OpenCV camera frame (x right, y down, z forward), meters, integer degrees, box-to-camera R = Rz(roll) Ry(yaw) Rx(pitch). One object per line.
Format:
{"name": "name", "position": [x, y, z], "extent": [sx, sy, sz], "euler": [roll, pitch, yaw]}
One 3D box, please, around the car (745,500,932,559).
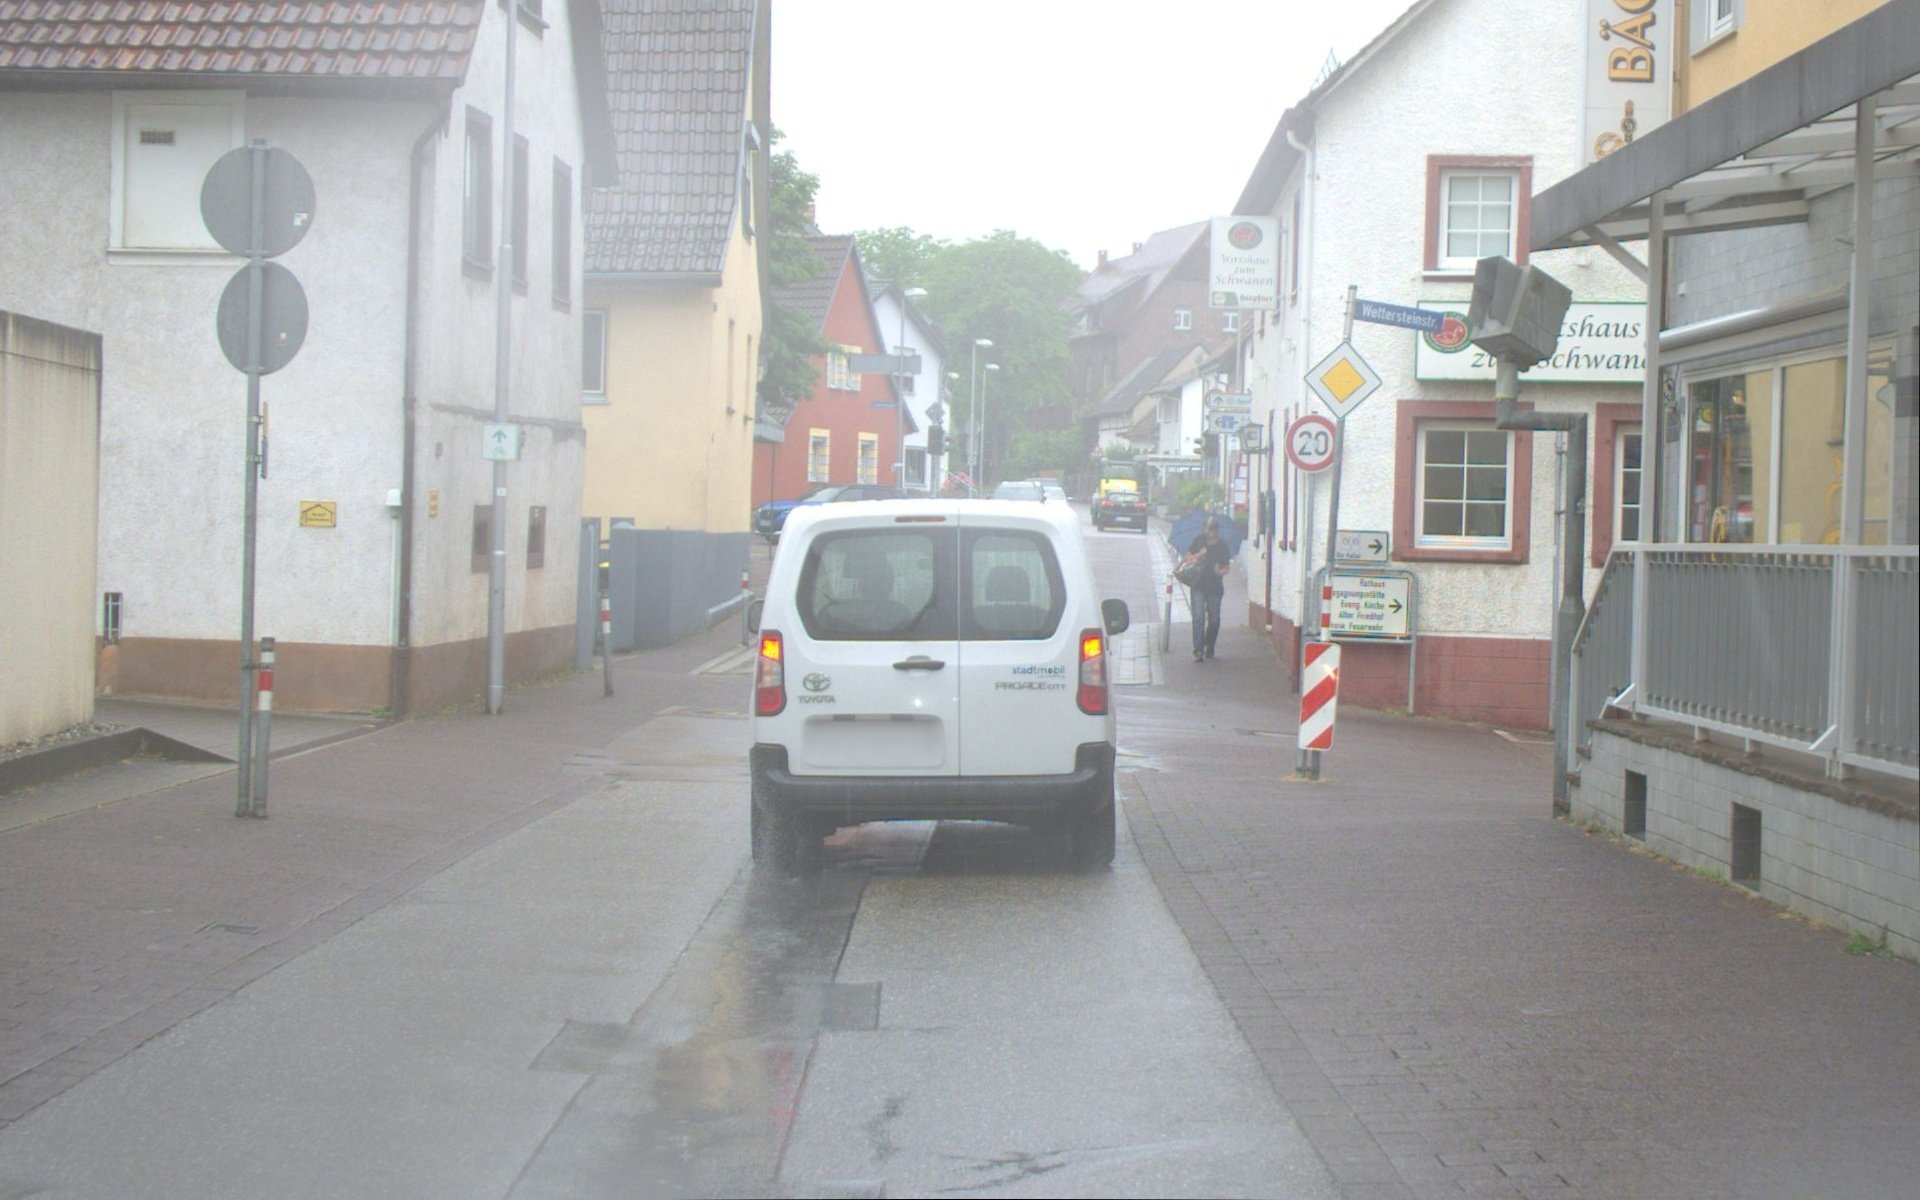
{"name": "car", "position": [-2.941, -1.701, 83.308], "extent": [3.987, 1.368, 2.111], "euler": [0, 1, -34]}

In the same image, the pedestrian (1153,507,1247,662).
{"name": "pedestrian", "position": [2.792, -0.188, 39.917], "extent": [0.994, 1.730, 0.811], "euler": [2, 3, 6]}

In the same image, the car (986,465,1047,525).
{"name": "car", "position": [1.768, -3.265, 106.223], "extent": [1.812, 1.773, 4.018], "euler": [1, 3, 1]}

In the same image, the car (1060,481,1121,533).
{"name": "car", "position": [4.549, -3.253, 120.302], "extent": [1.993, 1.741, 4.000], "euler": [1, 1, 1]}

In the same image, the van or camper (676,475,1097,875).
{"name": "van or camper", "position": [-0.315, 0.314, 17.944], "extent": [1.943, 1.845, 4.000], "euler": [0, 1, 1]}
